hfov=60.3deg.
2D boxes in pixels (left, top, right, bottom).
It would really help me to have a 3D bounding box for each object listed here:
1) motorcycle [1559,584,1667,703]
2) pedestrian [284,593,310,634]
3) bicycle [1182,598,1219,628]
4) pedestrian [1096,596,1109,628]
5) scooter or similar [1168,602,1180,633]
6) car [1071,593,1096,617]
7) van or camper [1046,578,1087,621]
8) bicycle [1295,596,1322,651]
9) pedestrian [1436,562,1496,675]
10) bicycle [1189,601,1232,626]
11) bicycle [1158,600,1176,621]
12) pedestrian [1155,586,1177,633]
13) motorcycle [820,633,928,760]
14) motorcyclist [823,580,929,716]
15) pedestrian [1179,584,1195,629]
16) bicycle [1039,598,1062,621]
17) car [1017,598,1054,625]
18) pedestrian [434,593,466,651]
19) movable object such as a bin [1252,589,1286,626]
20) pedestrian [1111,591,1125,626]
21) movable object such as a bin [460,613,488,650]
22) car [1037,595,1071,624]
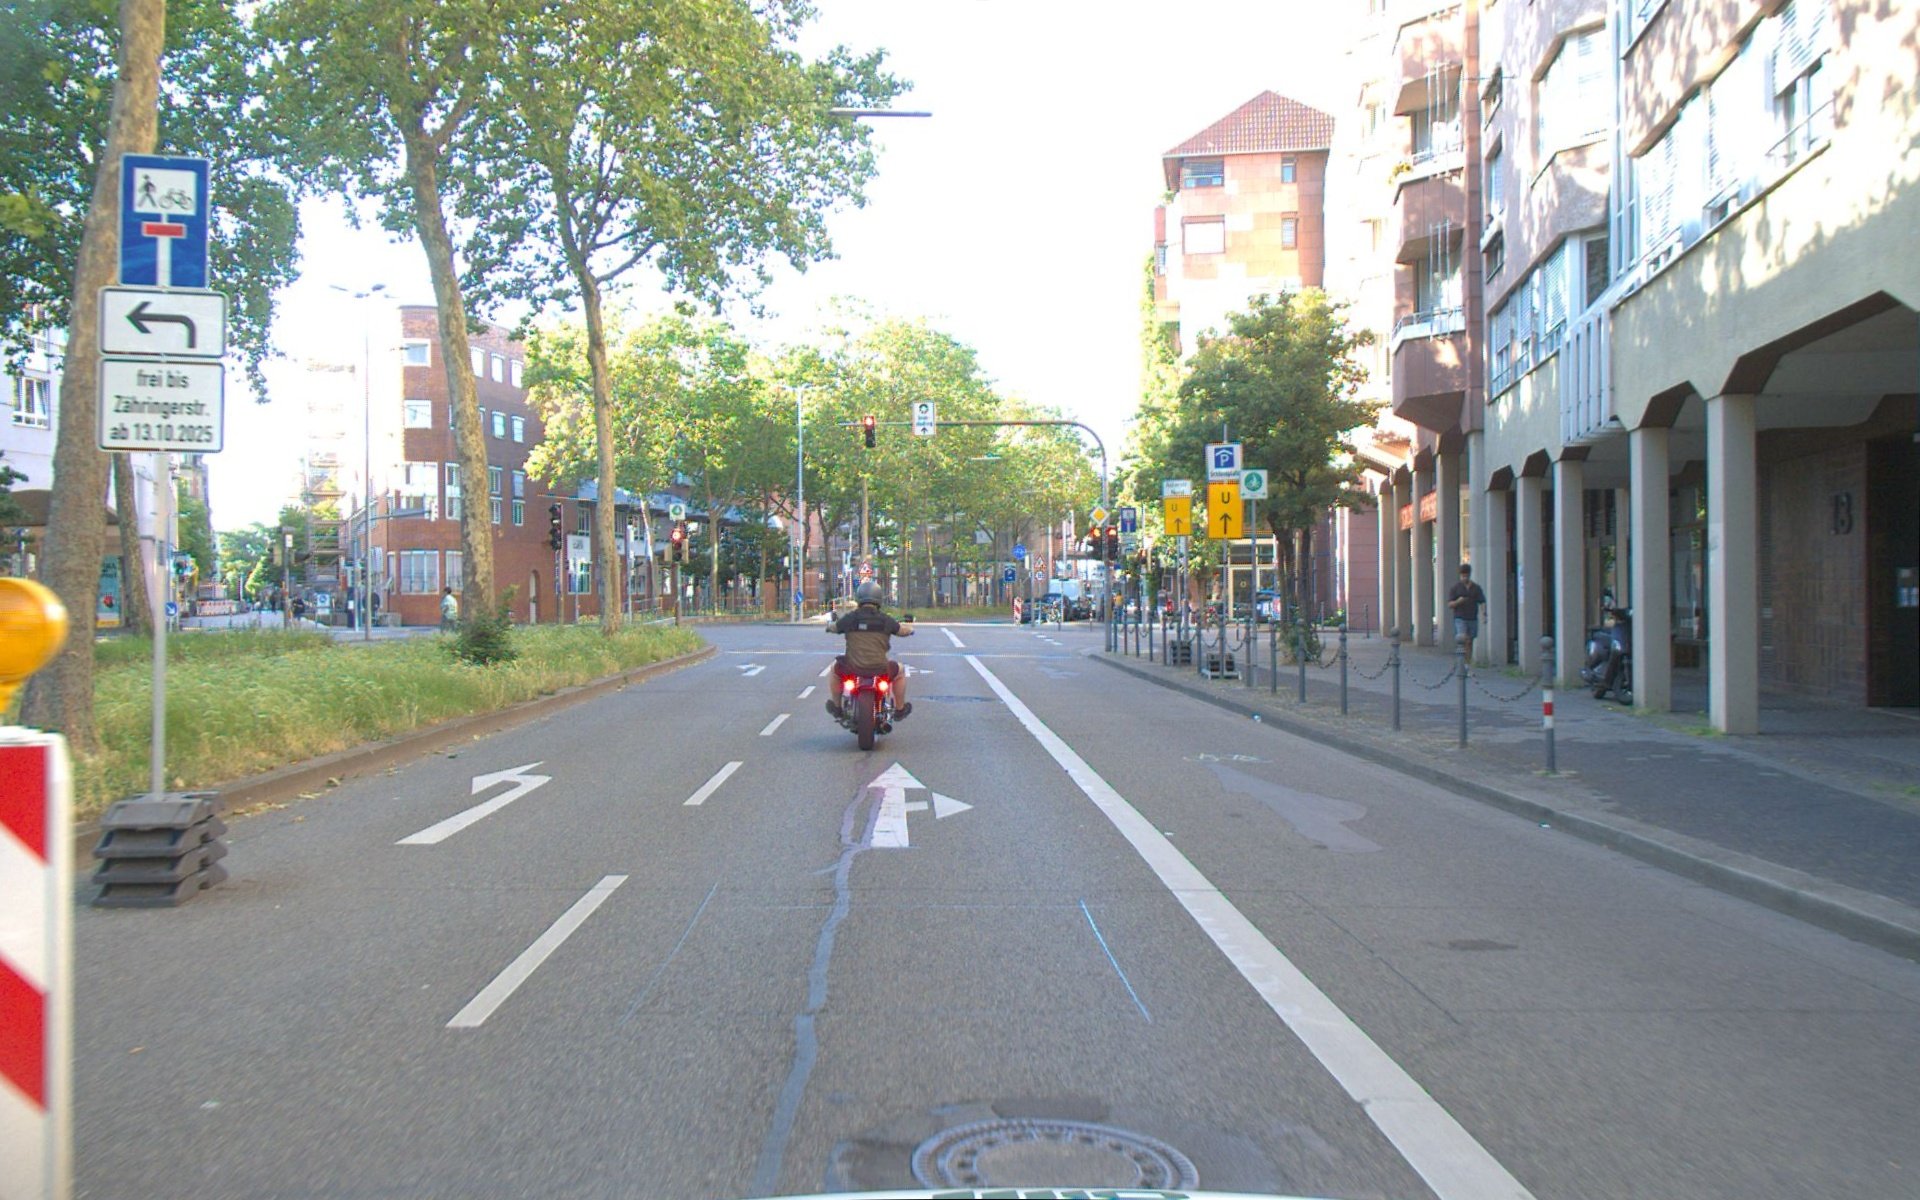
[{"bbox_3d":[8.106,0.512,20.625,0.478,1.396,2.090,-1,0,-1],"label":"motorcycle"},{"bbox_3d":[-31.118,0.621,77.662,0.837,1.902,0.752,-1,0,7],"label":"pedestrian"},{"bbox_3d":[10.289,0.560,70.716,1.534,1.248,0.578,-1,0,4],"label":"bicycle"},{"bbox_3d":[7.312,0.600,84.730,0.631,1.606,0.748,-1,0,2],"label":"pedestrian"},{"bbox_3d":[8.272,0.660,64.066,0.386,1.178,1.250,-1,0,5],"label":"scooter or similar"},{"bbox_3d":[8.667,0.326,115.949,1.586,1.638,3.777,-1,0,7],"label":"car"},{"bbox_3d":[6.659,-0.048,103.007,2.005,2.585,5.778,-1,0,9],"label":"van or camper"},{"bbox_3d":[8.307,0.547,39.456,0.608,1.247,1.928,-1,0,11],"label":"bicycle"},{"bbox_3d":[8.067,0.285,26.395,0.764,1.769,0.837,-1,0,7],"label":"pedestrian"},{"bbox_3d":[11.167,0.607,73.734,1.712,1.071,0.739,-1,0,26],"label":"bicycle"},{"bbox_3d":[9.884,0.506,78.966,0.721,0.956,1.753,-1,0,3],"label":"bicycle"},{"bbox_3d":[7.992,0.374,64.135,0.769,1.794,0.610,-1,0,1],"label":"pedestrian"},{"bbox_3d":[-0.857,0.918,16.349,0.998,1.116,2.006,0,0,-3],"label":"motorcycle"},{"bbox_3d":[-0.839,0.462,16.358,0.992,1.285,0.773,2,0,-4],"label":"motorcyclist"},{"bbox_3d":[8.812,0.252,64.099,0.450,1.702,0.679,-1,0,-5],"label":"pedestrian"},{"bbox_3d":[4.339,0.467,79.575,0.723,1.071,1.748,-1,0,-10],"label":"bicycle"},{"bbox_3d":[3.960,0.583,86.549,1.586,1.325,4.315,-1,0,7],"label":"car"},{"bbox_3d":[-13.634,0.584,44.235,0.605,1.530,0.535,-1,0,12],"label":"pedestrian"},{"bbox_3d":[12.707,0.306,68.041,1.380,1.508,0.872,-1,0,10],"label":"movable object such as a bin"},{"bbox_3d":[8.087,0.444,84.568,0.685,1.764,0.768,-1,0,2],"label":"pedestrian"},{"bbox_3d":[-13.042,0.834,44.398,0.499,0.970,0.540,-1,0,12],"label":"movable object such as a bin"},{"bbox_3d":[5.527,0.533,96.483,1.585,1.647,4.489,-1,0,8],"label":"car"}]
